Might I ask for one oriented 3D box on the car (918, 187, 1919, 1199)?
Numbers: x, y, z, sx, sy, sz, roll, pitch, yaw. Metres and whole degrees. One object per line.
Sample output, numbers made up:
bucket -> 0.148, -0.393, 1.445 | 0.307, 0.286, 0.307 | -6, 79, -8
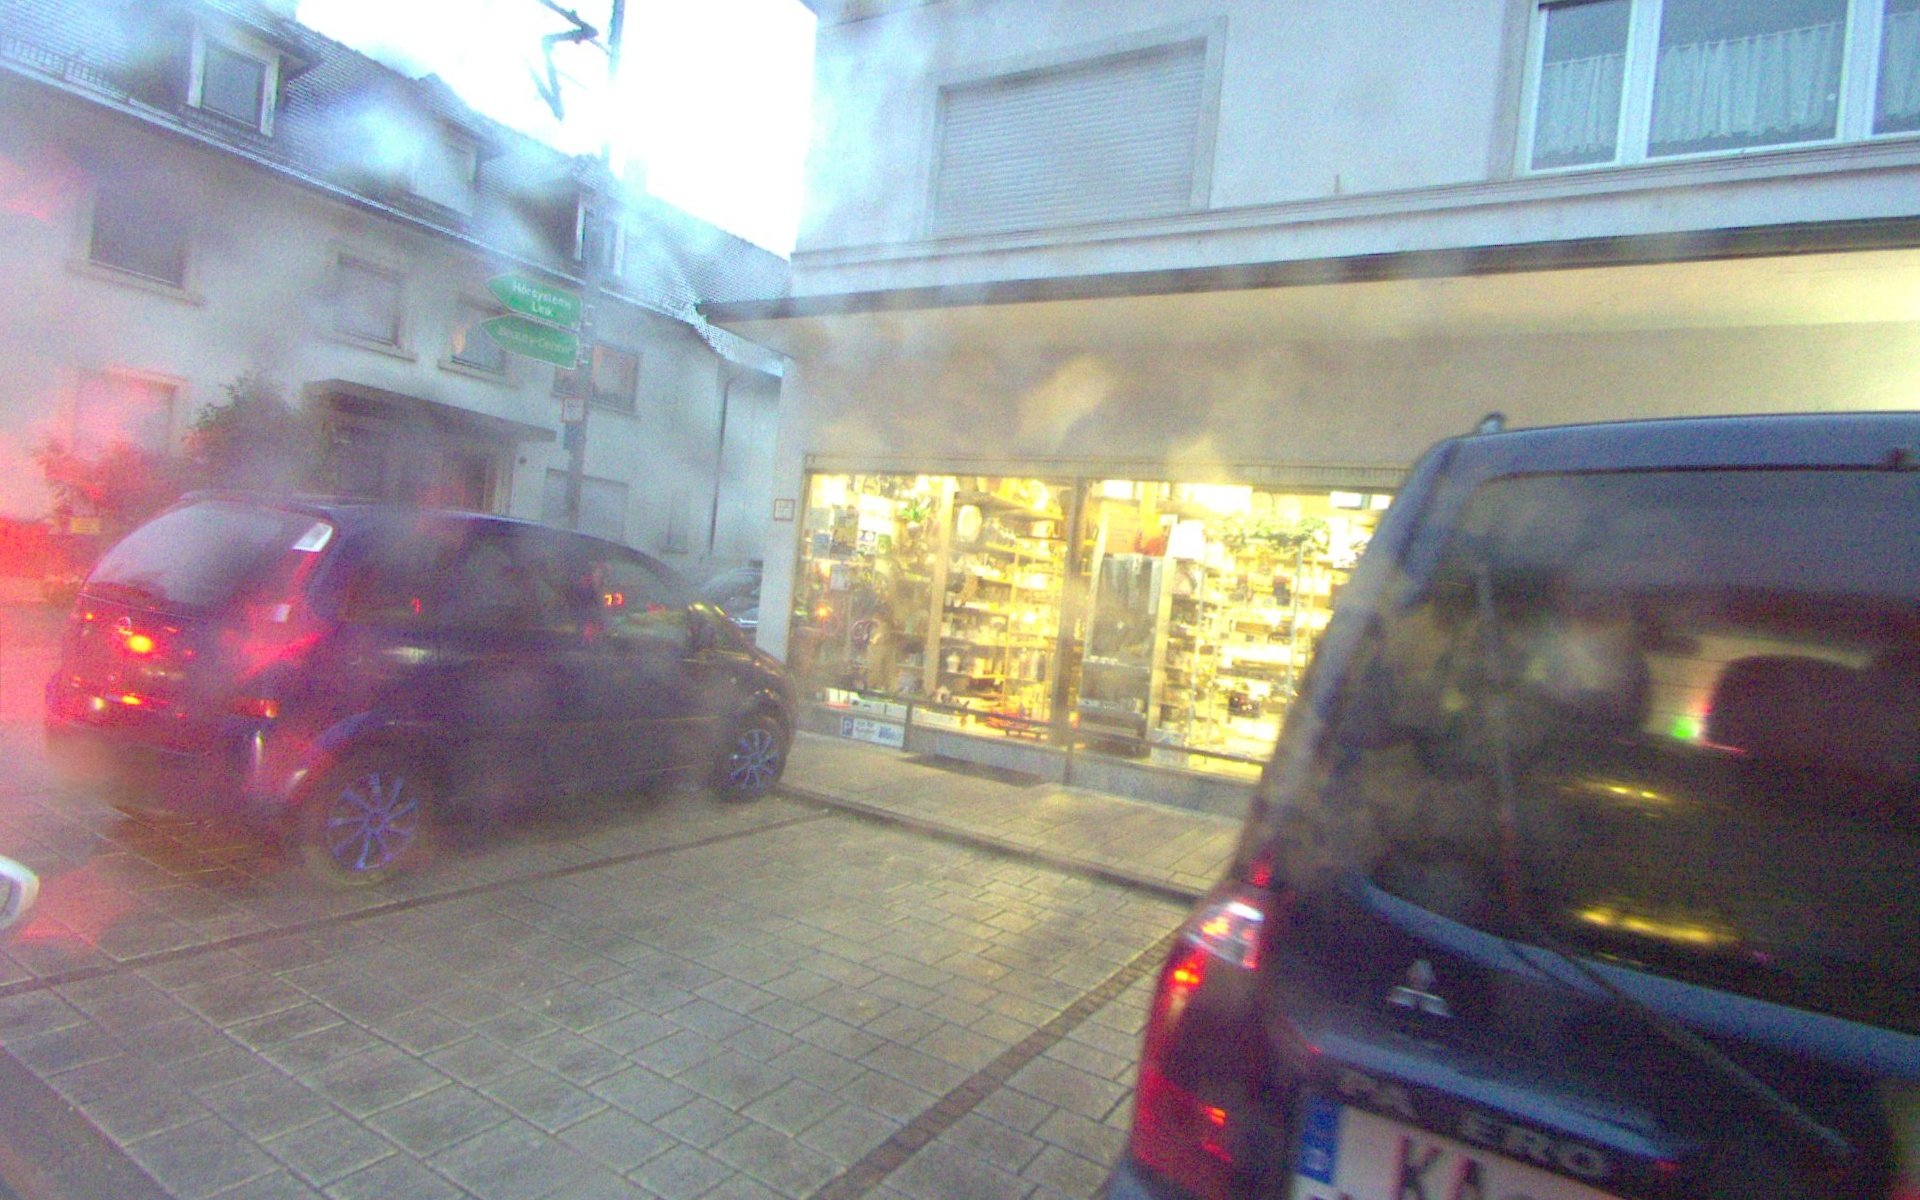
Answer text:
car -> 1.844, 0.779, 2.580 | 1.911, 1.798, 4.612 | 7, 1, 27

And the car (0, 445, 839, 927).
car -> -2.494, 0.337, 5.535 | 1.652, 1.599, 3.877 | 7, 0, 26

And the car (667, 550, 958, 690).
car -> -1.965, 0.337, 14.567 | 1.967, 1.590, 3.991 | 6, 0, 31
